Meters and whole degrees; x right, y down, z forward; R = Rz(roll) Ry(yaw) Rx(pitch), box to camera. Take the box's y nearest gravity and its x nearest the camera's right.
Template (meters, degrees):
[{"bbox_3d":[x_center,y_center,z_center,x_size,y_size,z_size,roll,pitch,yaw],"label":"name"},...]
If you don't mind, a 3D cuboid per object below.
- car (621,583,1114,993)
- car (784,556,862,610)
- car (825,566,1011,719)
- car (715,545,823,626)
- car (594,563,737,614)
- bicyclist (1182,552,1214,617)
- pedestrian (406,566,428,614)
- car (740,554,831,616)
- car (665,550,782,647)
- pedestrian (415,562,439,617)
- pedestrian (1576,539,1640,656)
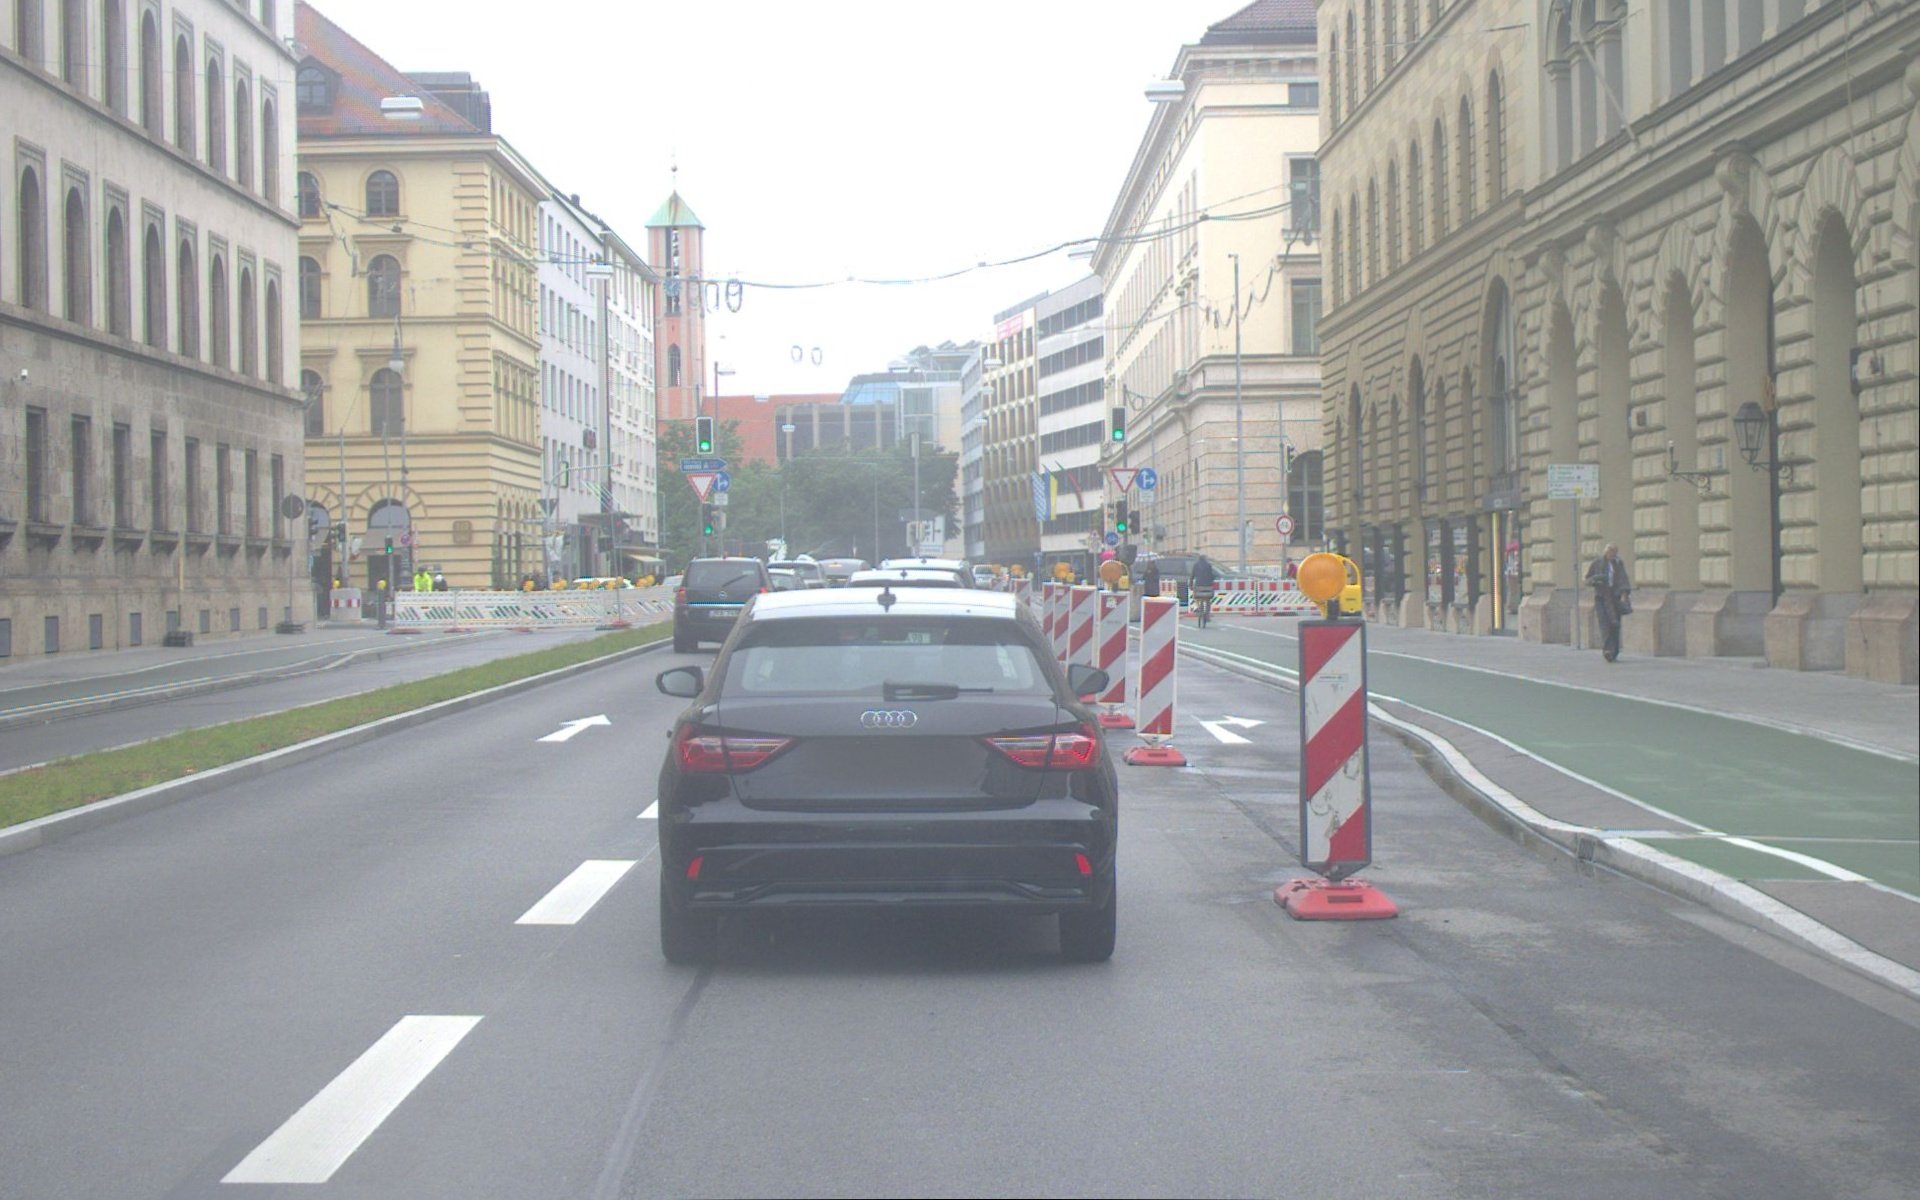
[{"bbox_3d":[-0.346,0.655,14.168,1.730,1.398,4.000,1,1,-1],"label":"car"},{"bbox_3d":[-3.786,-0.485,95.470,1.993,1.439,4.000,-1,1,0],"label":"car"},{"bbox_3d":[-0.412,0.377,34.106,1.730,1.398,4.000,1,1,-1],"label":"car"},{"bbox_3d":[-3.921,-0.315,71.215,1.993,1.622,4.000,-1,1,0],"label":"car"},{"bbox_3d":[-8.555,-0.341,99.665,3.812,1.393,1.758,-1,1,-18],"label":"car"},{"bbox_3d":[5.606,-0.366,80.900,0.710,1.495,0.754,-1,1,2],"label":"bicyclist"},{"bbox_3d":[-19.339,-0.365,122.505,0.656,1.687,0.727,-1,1,-1],"label":"pedestrian"},{"bbox_3d":[-4.196,-0.372,83.122,1.993,1.439,4.000,-1,1,0],"label":"car"},{"bbox_3d":[-4.042,-0.054,59.200,1.764,1.610,4.030,0,1,-1],"label":"car"},{"bbox_3d":[-17.594,-0.356,113.516,0.656,1.799,0.727,-1,0,-1],"label":"pedestrian"},{"bbox_3d":[8.982,-0.038,47.666,0.710,1.612,0.754,-1,1,-1],"label":"pedestrian"}]
